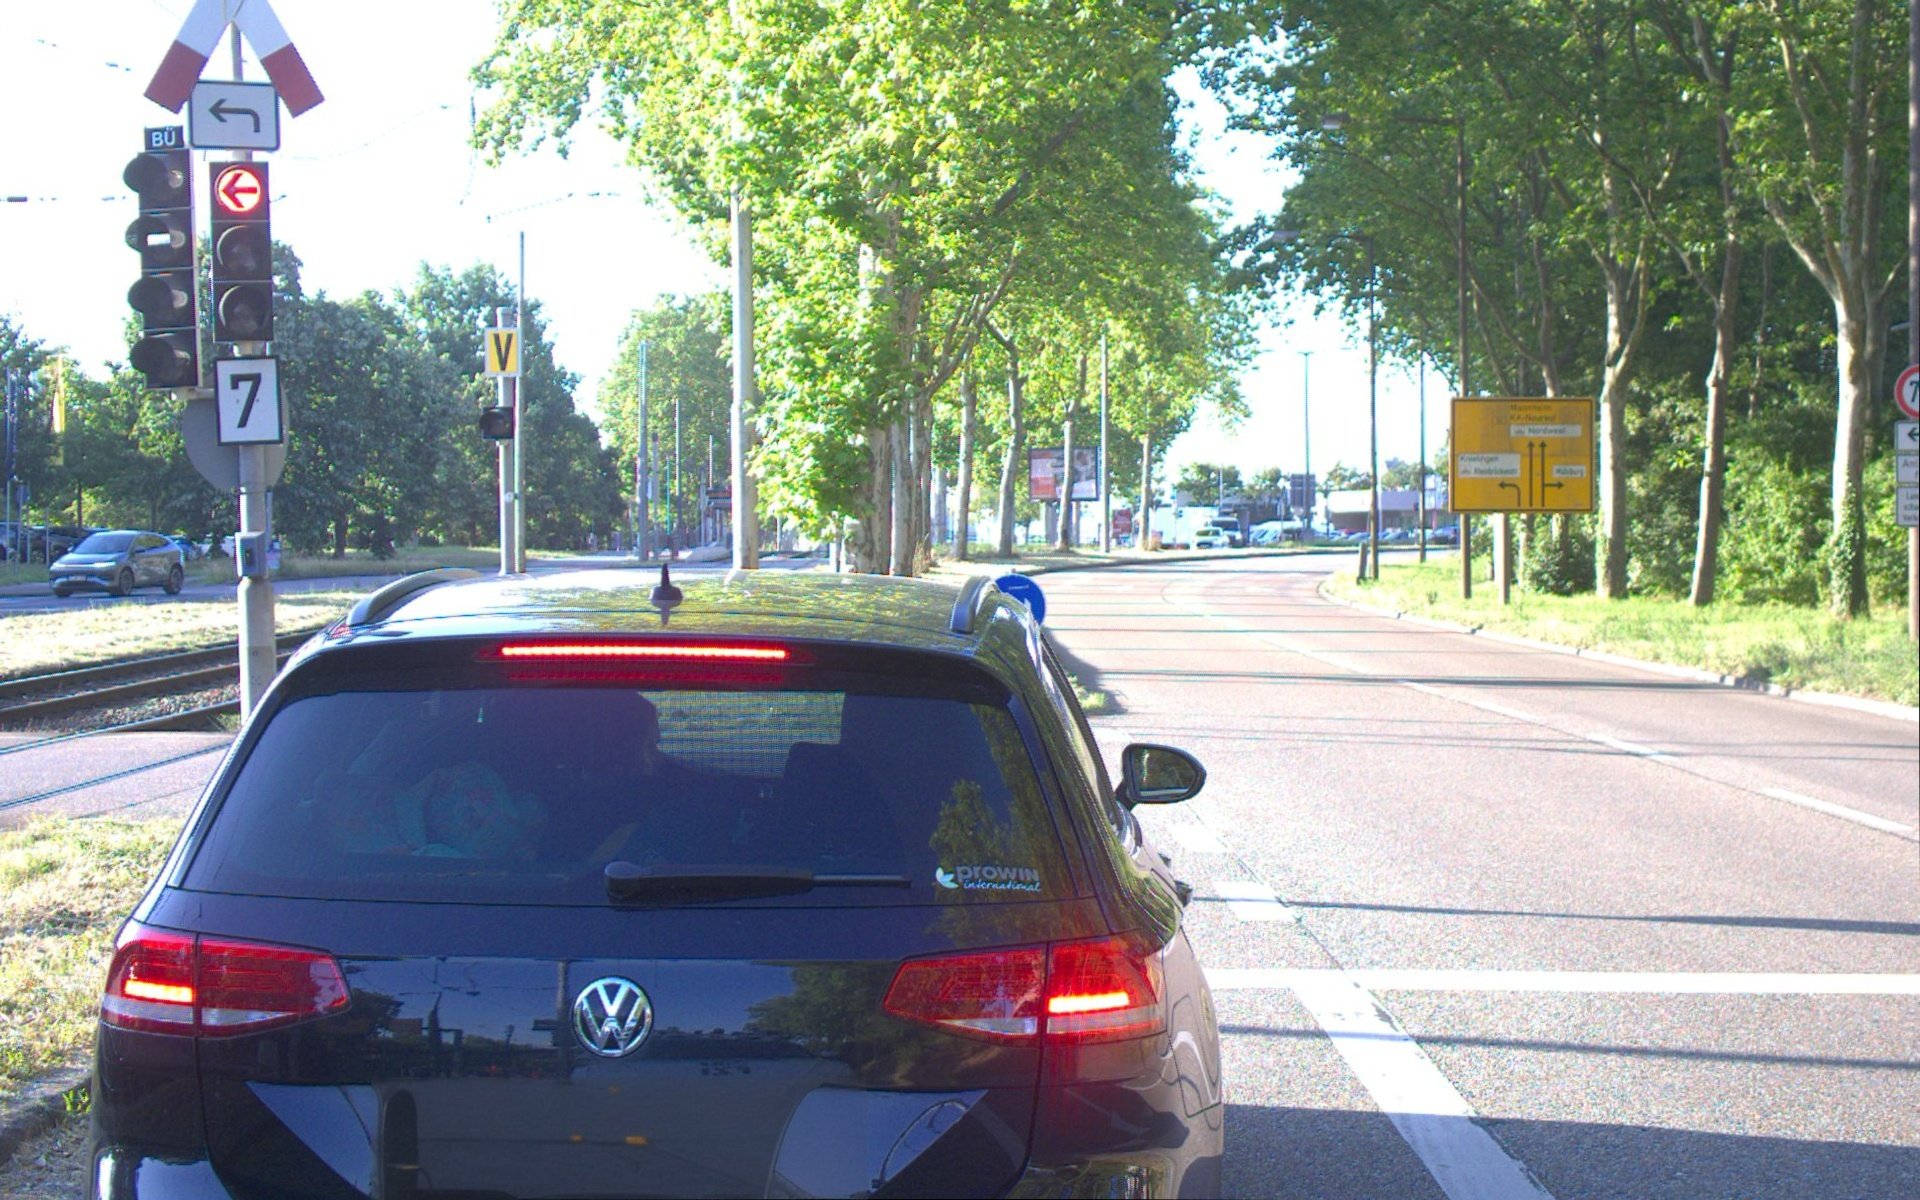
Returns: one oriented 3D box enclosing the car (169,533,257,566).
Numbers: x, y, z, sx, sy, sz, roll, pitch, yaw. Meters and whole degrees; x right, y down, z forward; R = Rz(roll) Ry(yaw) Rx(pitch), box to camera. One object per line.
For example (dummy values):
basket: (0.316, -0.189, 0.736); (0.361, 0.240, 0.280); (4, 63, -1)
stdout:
car: (-36.484, -2.456, 168.007); (3.986, 1.550, 1.744); (0, 1, -4)

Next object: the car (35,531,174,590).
car: (-22.039, -1.038, 88.677); (1.863, 1.476, 4.170); (1, 1, 11)

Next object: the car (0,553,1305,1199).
car: (-0.472, 0.659, 6.430); (1.795, 1.459, 3.583); (1, 1, -1)

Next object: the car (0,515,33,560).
car: (-35.897, -2.286, 125.025); (3.986, 1.615, 1.744); (0, 1, -5)

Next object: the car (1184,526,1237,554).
car: (13.797, -3.282, 188.808); (1.864, 1.476, 4.088); (1, 1, 20)

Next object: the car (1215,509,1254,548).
car: (17.611, -4.574, 220.647); (2.095, 2.453, 5.853); (1, 1, 1)
